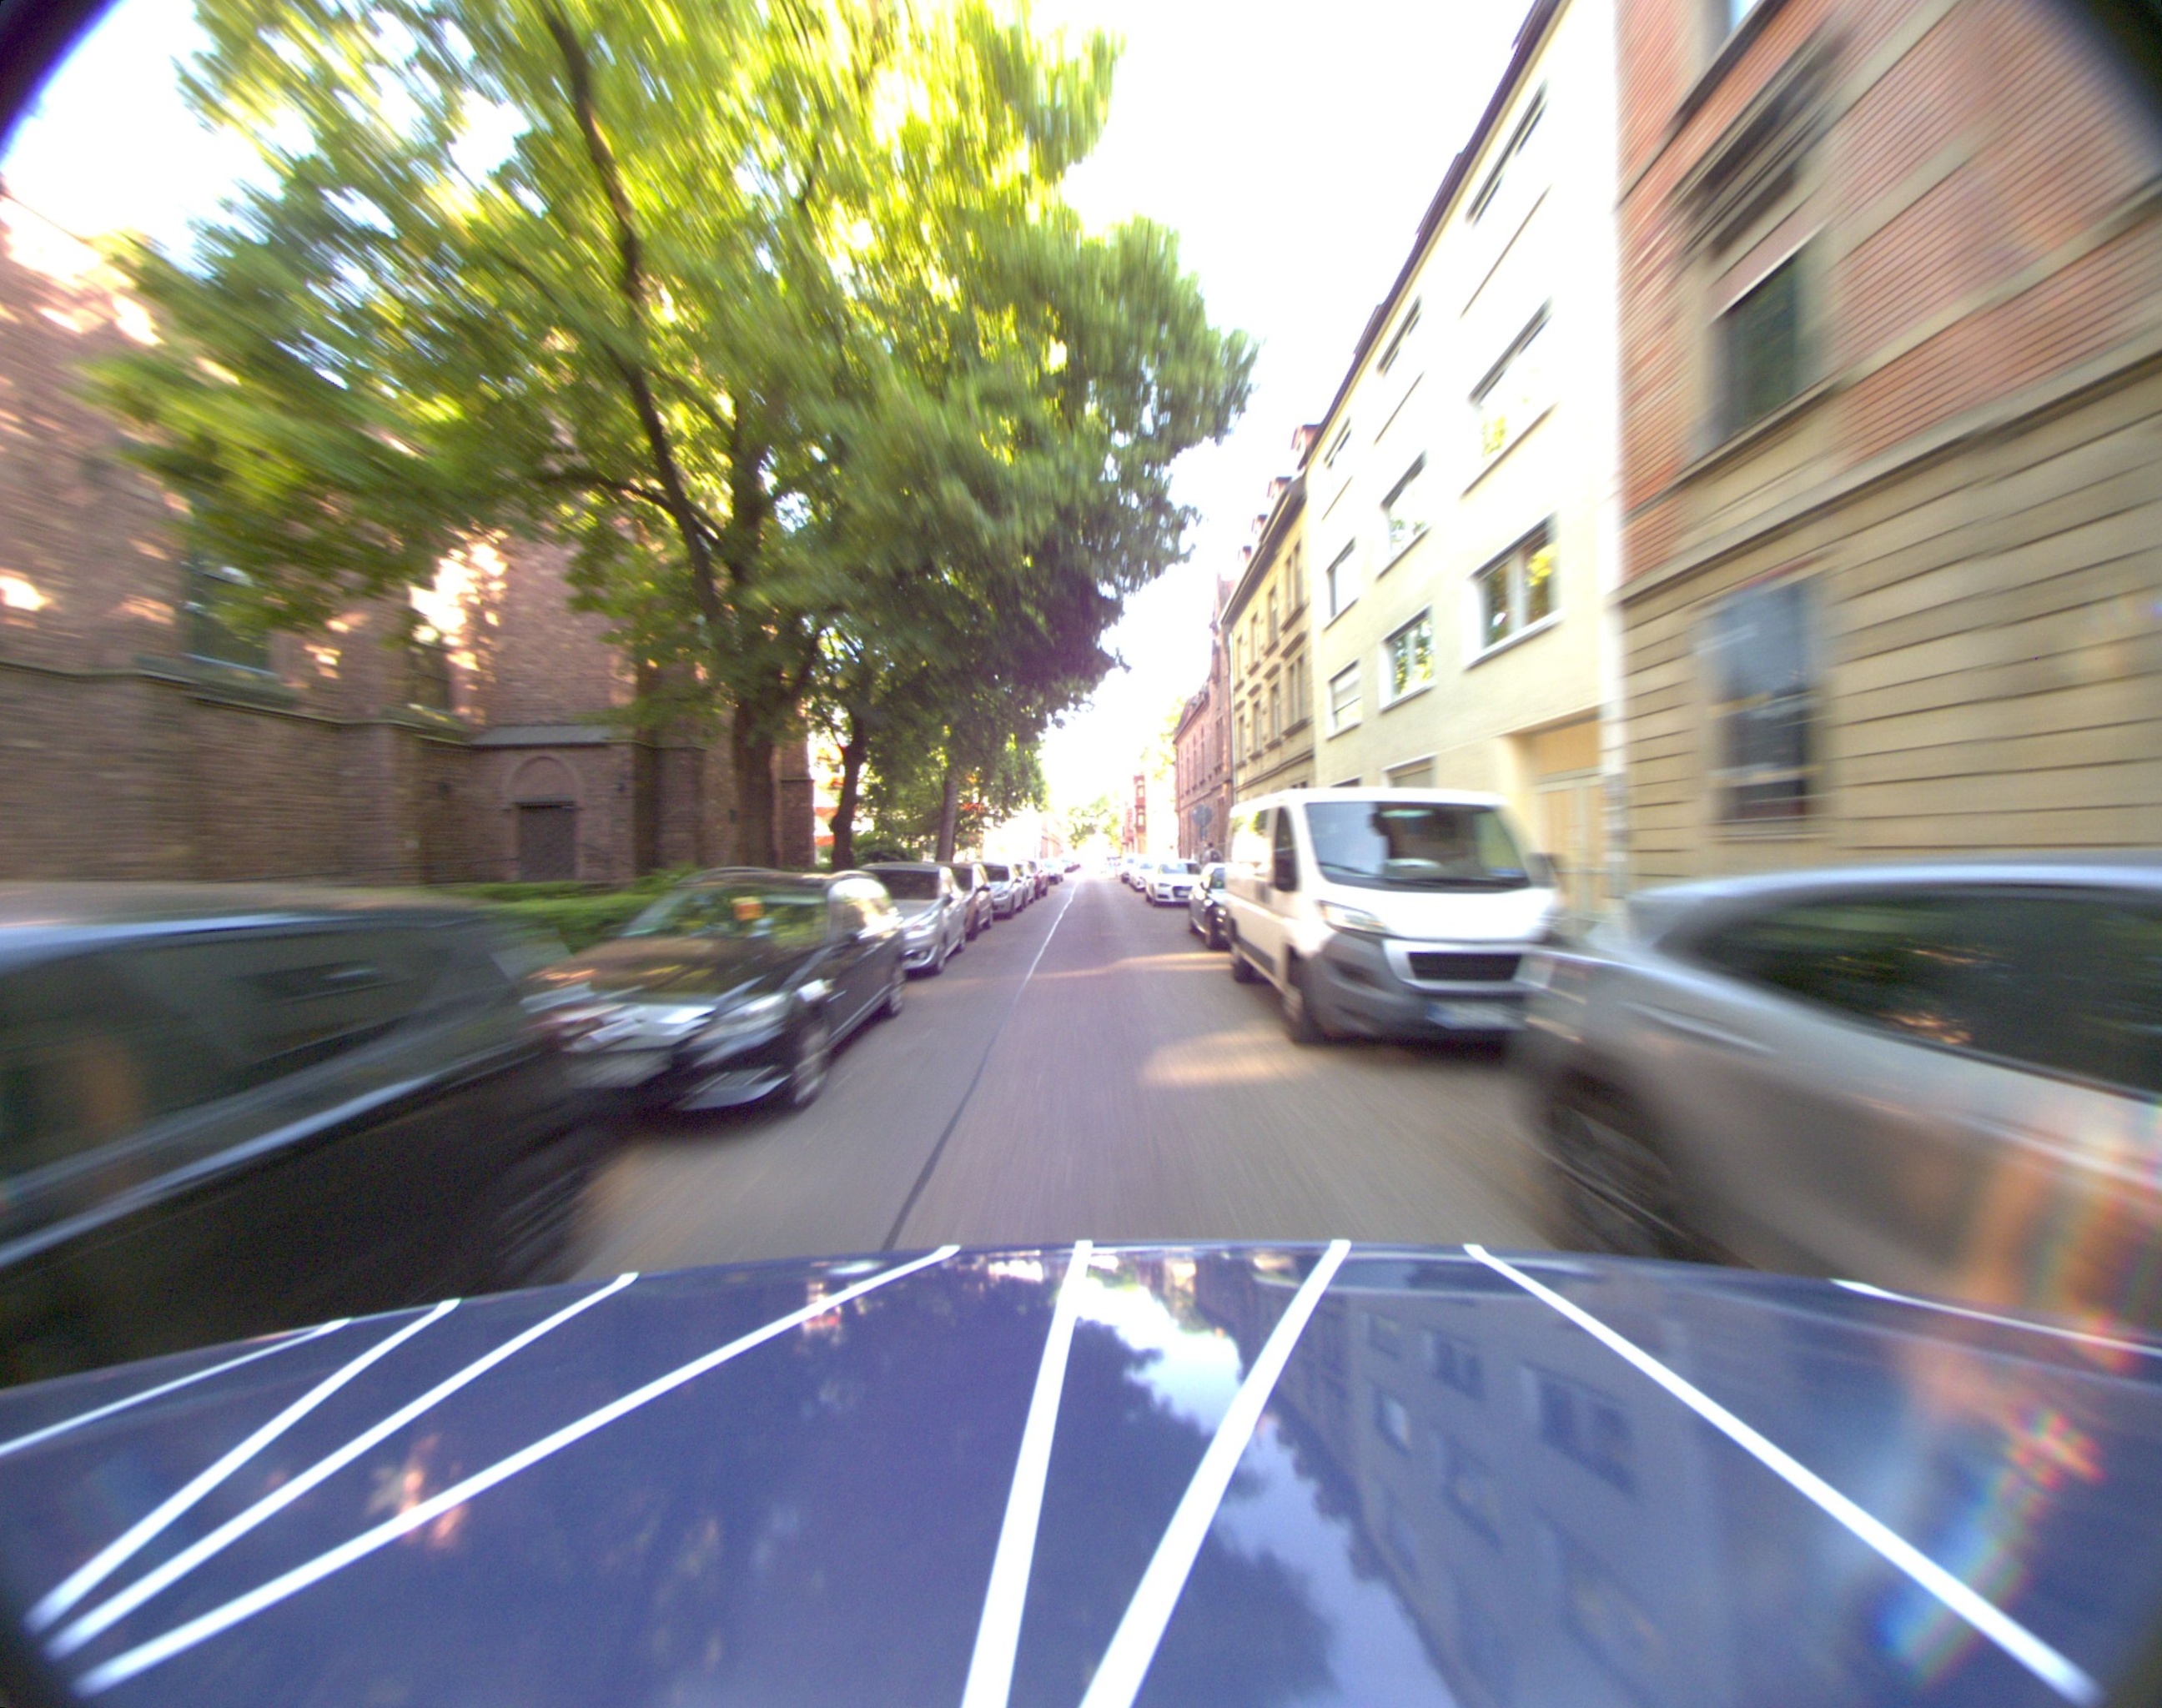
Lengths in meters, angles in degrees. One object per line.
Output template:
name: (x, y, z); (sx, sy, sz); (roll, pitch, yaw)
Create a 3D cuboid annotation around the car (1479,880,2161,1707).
car: (2.601, 0.880, 1.170); (1.771, 1.505, 4.193); (1, 0, 0)

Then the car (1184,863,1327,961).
car: (2.934, 0.905, 13.691); (1.735, 1.394, 4.316); (1, 0, 2)

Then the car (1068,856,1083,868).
car: (-0.852, 1.147, 112.280); (1.998, 1.659, 4.001); (-1, 0, 3)

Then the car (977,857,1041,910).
car: (-2.353, 0.935, 25.625); (1.603, 1.496, 3.720); (4, 1, 1)

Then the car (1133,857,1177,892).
car: (3.283, 0.898, 34.438); (1.713, 1.409, 3.803); (1, 1, 2)

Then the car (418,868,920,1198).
car: (-2.569, 0.966, 6.187); (1.680, 1.433, 4.693); (3, 1, -3)

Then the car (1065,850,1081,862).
car: (-1.155, 0.267, 106.731); (1.998, 1.659, 4.001); (-1, 0, 3)

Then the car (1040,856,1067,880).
car: (-1.816, 0.926, 51.588); (1.713, 1.511, 3.831); (0, 1, 0)

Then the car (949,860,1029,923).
car: (-2.442, 0.948, 20.943); (1.603, 1.462, 3.869); (1, 1, 1)

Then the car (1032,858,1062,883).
car: (-2.038, 0.968, 46.074); (1.625, 1.428, 4.002); (0, 1, 0)

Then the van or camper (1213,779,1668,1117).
van or camper: (2.751, 0.598, 7.470); (2.182, 2.135, 5.155); (1, 0, 2)

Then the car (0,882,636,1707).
car: (-2.740, 0.927, 1.306); (1.623, 1.478, 3.776); (4, 1, 1)

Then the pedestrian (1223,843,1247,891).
pedestrian: (6.225, 0.528, 30.709); (0.768, 1.917, 0.763); (-2, 1, -3)

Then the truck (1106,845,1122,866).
truck: (4.339, 0.181, 99.608); (1.971, 2.643, 5.885); (0, 0, 1)

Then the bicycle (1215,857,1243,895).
bicycle: (5.165, 0.752, 26.620); (0.572, 1.236, 1.844); (-4, 0, 0)

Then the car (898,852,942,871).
car: (-14.726, 0.666, 69.616); (3.695, 1.550, 1.649); (-1, 3, 0)

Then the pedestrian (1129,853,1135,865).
pedestrian: (6.745, 0.678, 101.004); (0.670, 1.585, 0.597); (-1, 0, -2)

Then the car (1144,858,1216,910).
car: (3.058, 0.874, 24.284); (1.735, 1.447, 4.521); (1, 0, 1)

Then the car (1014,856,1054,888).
car: (-2.455, 0.914, 40.461); (1.668, 1.511, 4.060); (4, 1, 2)

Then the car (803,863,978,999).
car: (-2.610, 0.977, 11.238); (1.603, 1.496, 3.627); (4, 1, 0)

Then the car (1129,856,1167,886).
car: (3.422, 0.835, 39.192); (1.713, 1.409, 3.803); (1, 1, 2)

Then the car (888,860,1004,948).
car: (-2.678, 0.930, 15.803); (1.603, 1.459, 3.563); (4, 1, 1)

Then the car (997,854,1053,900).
car: (-2.181, 0.871, 30.649); (1.668, 1.577, 4.101); (4, 1, 3)

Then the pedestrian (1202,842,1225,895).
pedestrian: (4.628, 0.501, 26.588); (0.489, 1.792, 1.115); (-4, 1, 0)

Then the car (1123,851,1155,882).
car: (3.418, 0.691, 45.282); (1.713, 1.664, 4.278); (1, 1, 2)

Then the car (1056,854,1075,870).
car: (-1.586, 0.834, 80.797); (1.845, 1.643, 4.000); (0, 0, 1)
